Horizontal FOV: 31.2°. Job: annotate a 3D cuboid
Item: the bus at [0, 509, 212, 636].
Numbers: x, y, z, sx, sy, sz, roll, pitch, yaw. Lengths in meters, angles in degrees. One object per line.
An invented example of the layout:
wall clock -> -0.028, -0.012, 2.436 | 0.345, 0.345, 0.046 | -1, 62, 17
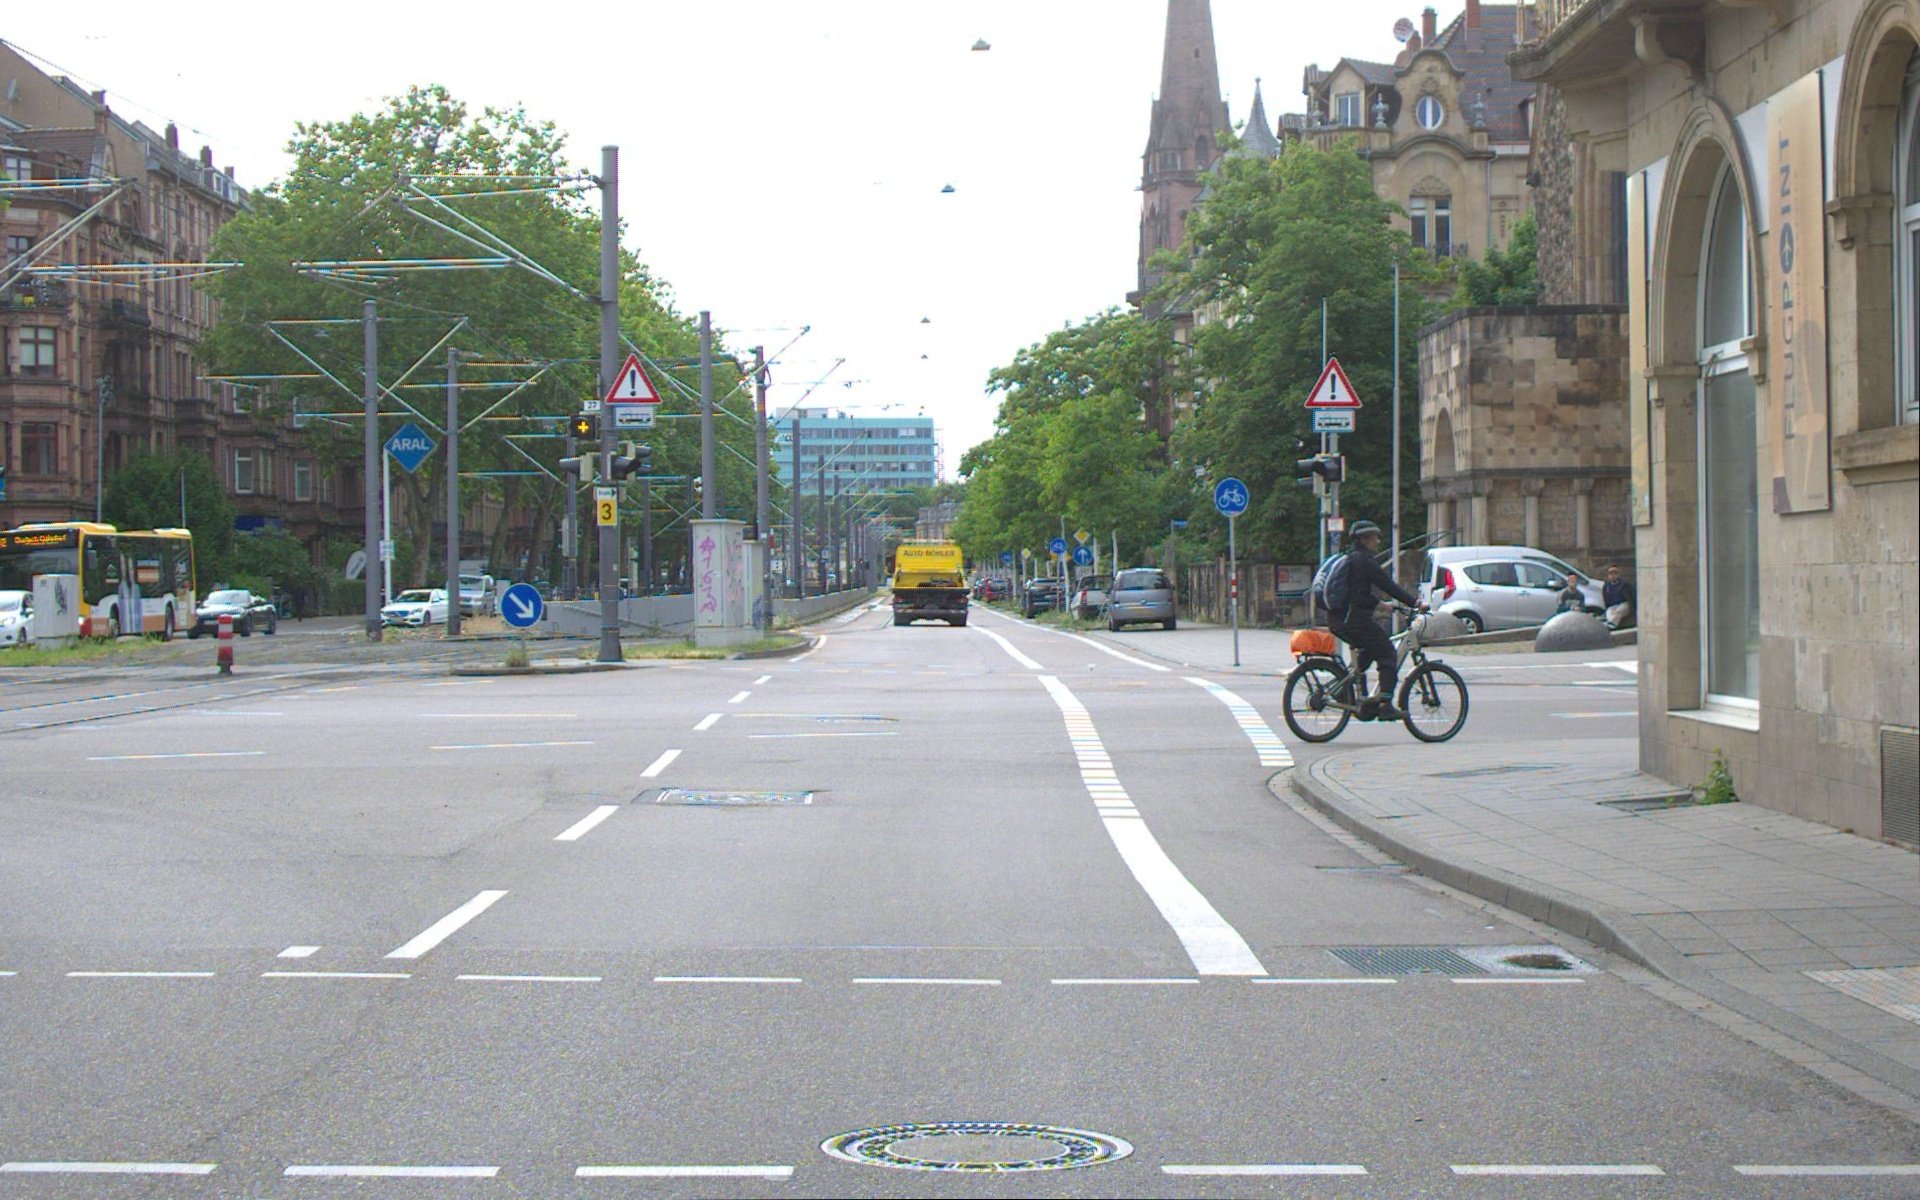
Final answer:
bus -> -22.481, -0.726, 89.087 | 3.231, 3.025, 12.311 | 1, 1, 1

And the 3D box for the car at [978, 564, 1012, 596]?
car -> 2.201, -1.268, 216.824 | 1.993, 2.007, 4.000 | 1, 1, -1

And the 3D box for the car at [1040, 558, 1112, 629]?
car -> 3.344, -0.208, 99.637 | 1.993, 2.007, 4.000 | 1, 1, 1

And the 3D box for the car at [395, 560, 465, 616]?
car -> -19.500, -0.455, 126.671 | 1.993, 2.007, 4.000 | 1, 1, -1

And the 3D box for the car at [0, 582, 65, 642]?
car -> -21.913, 0.263, 79.038 | 1.656, 1.316, 3.638 | 1, 1, 1

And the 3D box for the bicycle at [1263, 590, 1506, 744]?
bicycle -> 3.638, 0.566, 29.419 | 1.991, 1.268, 0.751 | 1, 1, -30

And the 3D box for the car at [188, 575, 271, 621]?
car -> -22.015, -0.070, 103.685 | 1.656, 1.316, 3.638 | 1, 1, 1

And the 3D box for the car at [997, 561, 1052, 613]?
car -> 2.538, -0.516, 135.980 | 1.993, 2.007, 4.000 | 1, 1, -1

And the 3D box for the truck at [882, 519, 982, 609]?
truck -> -0.896, -1.158, 110.918 | 3.055, 2.760, 9.816 | 0, 1, 0

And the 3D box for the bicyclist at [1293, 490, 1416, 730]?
bicyclist -> 3.356, 0.084, 29.264 | 0.692, 2.007, 0.783 | 1, 0, -29

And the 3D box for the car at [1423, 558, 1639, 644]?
car -> 10.761, 0.013, 64.965 | 3.713, 1.558, 2.000 | 1, 0, 0

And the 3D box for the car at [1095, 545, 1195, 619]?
car -> 4.864, -0.474, 89.977 | 1.994, 1.849, 4.024 | 1, 1, 12

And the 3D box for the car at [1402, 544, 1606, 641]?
car -> 10.790, -0.164, 68.397 | 3.713, 1.849, 2.000 | 1, 0, 0

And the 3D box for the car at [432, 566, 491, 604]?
car -> -21.616, -0.645, 149.272 | 1.993, 1.605, 4.000 | 1, 1, -1
